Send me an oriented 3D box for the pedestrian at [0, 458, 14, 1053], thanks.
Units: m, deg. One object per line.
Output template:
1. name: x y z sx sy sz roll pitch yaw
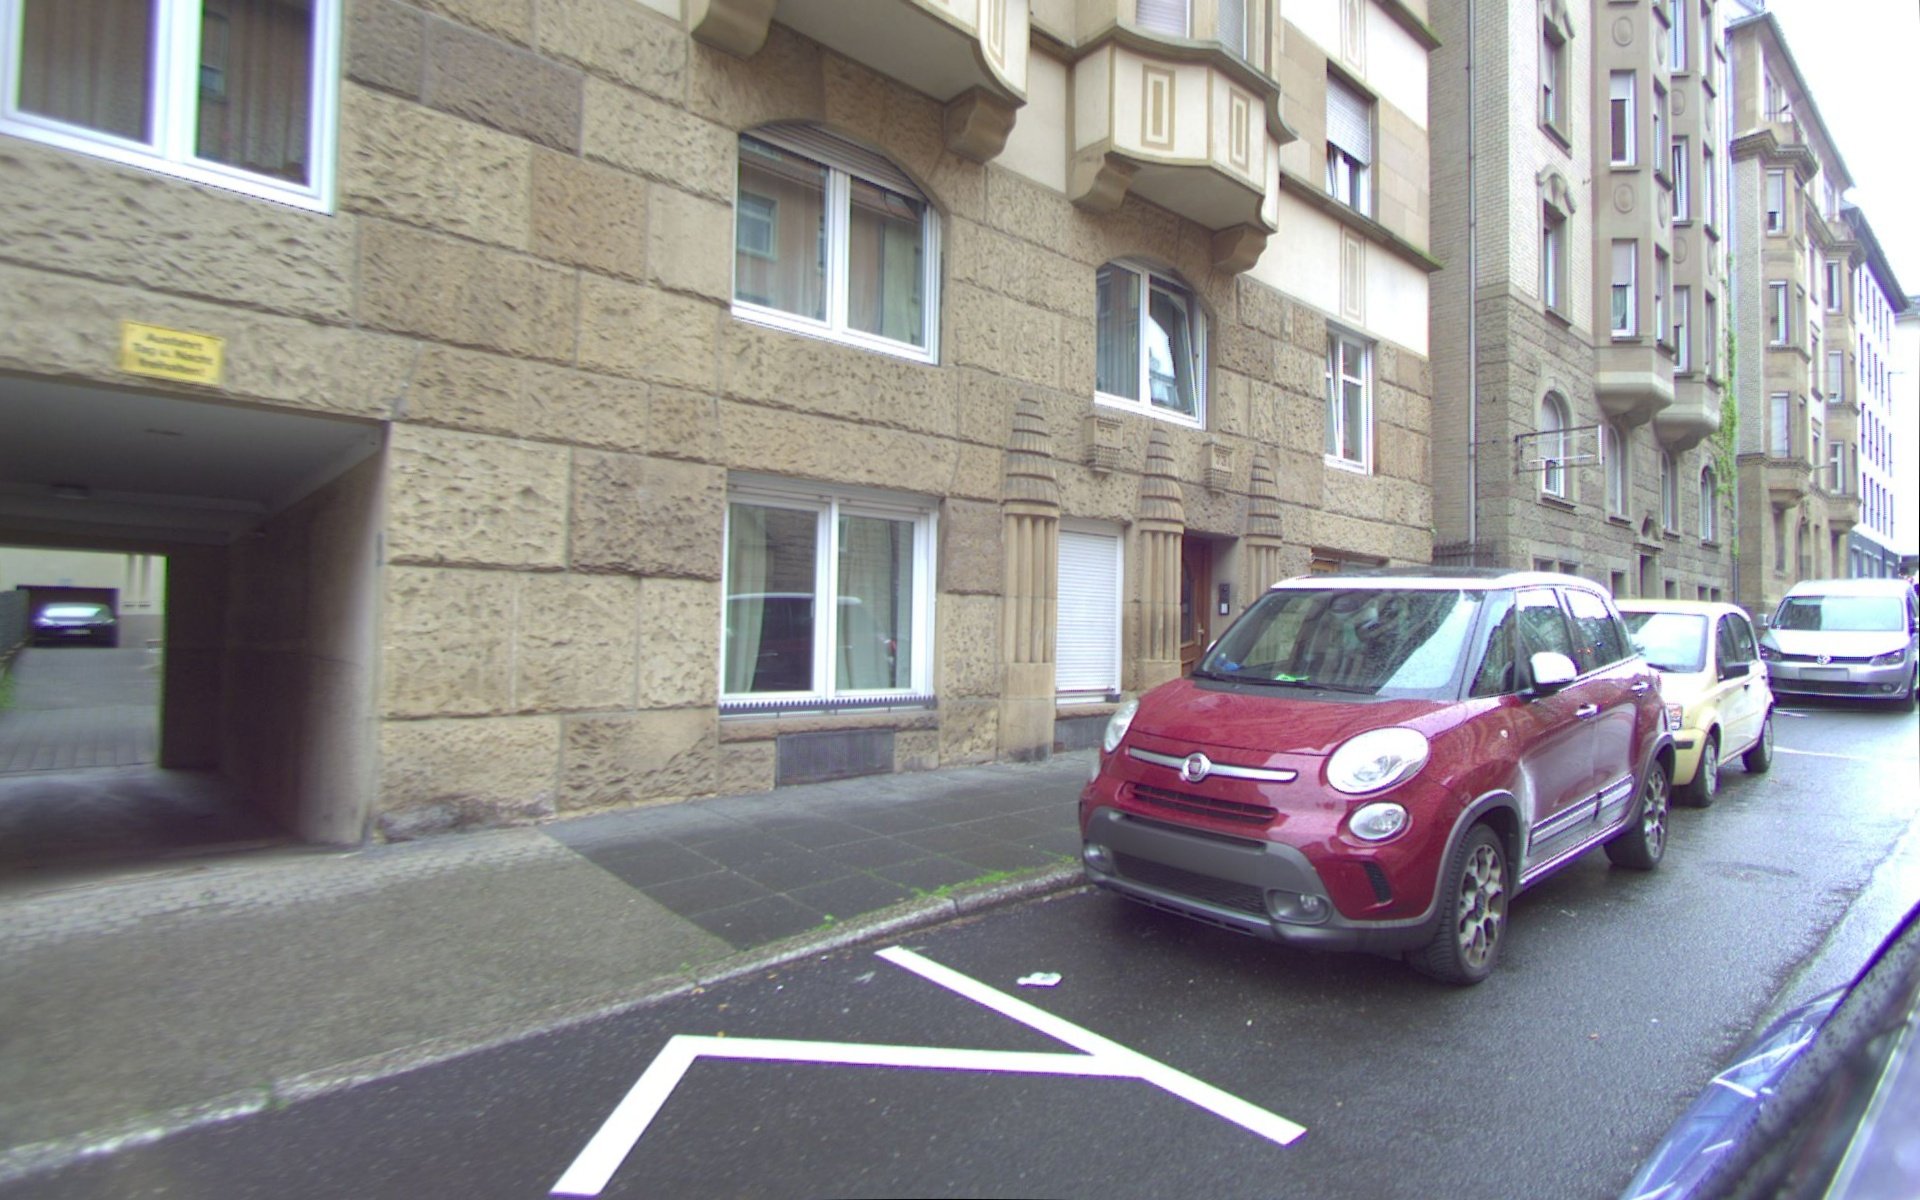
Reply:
1. pedestrian: -3.395 0.460 2.801 1.092 1.770 0.743 0 0 -41

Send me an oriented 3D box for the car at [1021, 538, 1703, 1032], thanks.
1. car: 2.332 0.609 5.329 3.932 1.619 1.804 0 -1 -42

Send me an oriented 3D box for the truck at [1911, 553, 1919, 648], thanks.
1. truck: 28.818 0.007 28.577 6.036 2.568 2.234 0 -1 -41

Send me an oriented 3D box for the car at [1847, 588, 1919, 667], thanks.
1. car: 20.131 0.535 21.138 3.860 1.549 1.889 0 -1 -41

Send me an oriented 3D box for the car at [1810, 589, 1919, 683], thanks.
1. car: 16.826 0.590 18.199 3.934 1.549 1.994 0 -1 -45

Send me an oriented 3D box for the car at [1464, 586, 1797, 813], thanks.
1. car: 5.854 0.680 8.690 3.517 1.549 1.578 0 -1 -43

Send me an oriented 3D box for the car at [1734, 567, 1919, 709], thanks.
1. car: 13.417 0.492 15.208 4.381 1.825 1.966 0 -1 -41

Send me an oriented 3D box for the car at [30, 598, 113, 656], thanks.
1. car: -25.531 0.739 29.156 1.692 1.541 4.098 0 -1 -41
